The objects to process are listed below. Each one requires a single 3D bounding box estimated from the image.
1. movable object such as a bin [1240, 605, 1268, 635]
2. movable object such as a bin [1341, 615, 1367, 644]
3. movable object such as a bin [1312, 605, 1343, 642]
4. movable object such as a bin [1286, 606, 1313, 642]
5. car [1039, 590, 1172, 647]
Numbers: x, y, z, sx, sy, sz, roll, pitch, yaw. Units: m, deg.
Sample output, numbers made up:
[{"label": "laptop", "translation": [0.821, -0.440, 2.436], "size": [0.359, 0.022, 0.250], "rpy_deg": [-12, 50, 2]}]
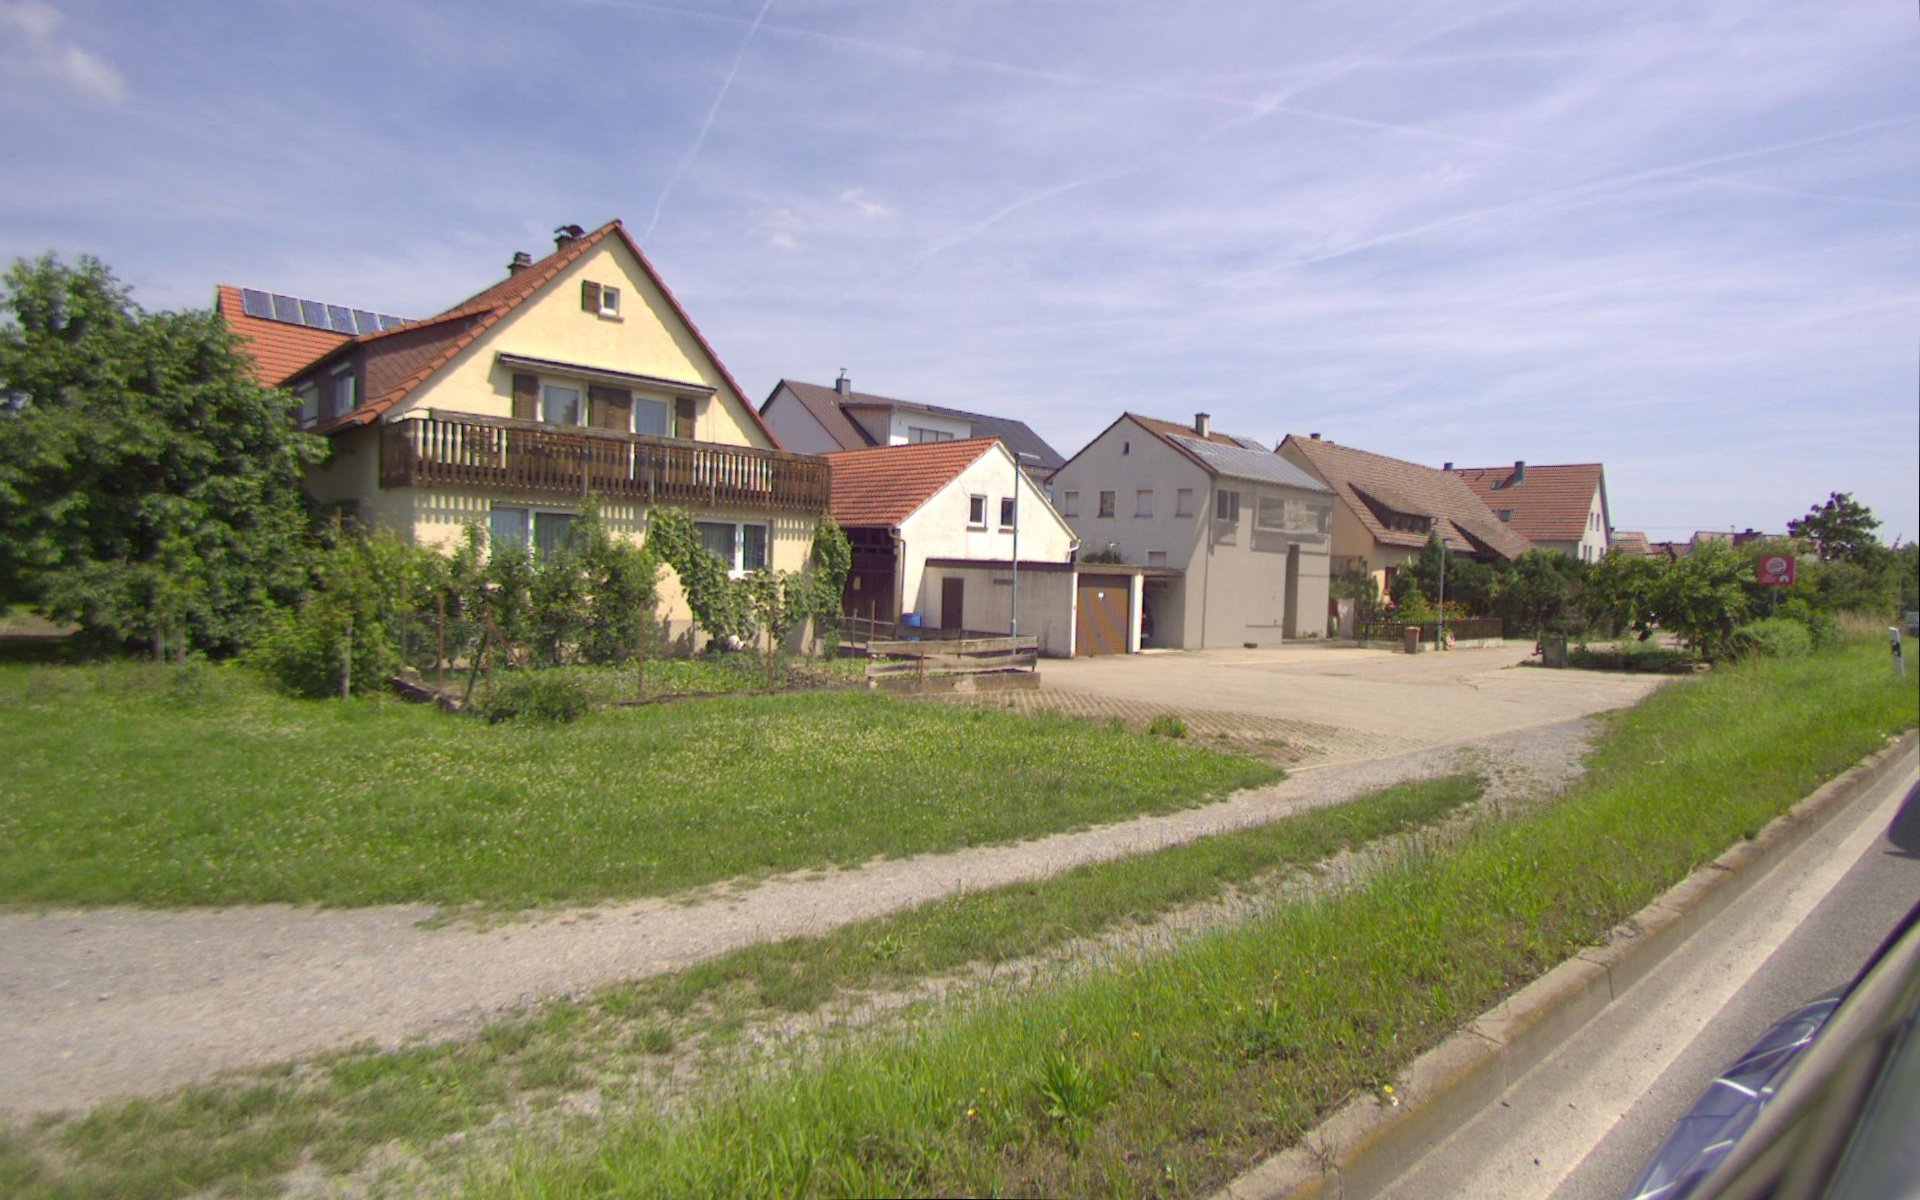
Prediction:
[{"label": "movable object such as a bin", "translation": [11.808, 0.795, 40.655], "size": [0.816, 1.171, 0.739], "rpy_deg": [1, 0, -42]}, {"label": "movable object such as a bin", "translation": [14.612, 1.085, 37.547], "size": [0.743, 1.040, 0.645], "rpy_deg": [1, 0, -42]}, {"label": "movable object such as a bin", "translation": [13.896, 0.872, 38.249], "size": [0.930, 1.387, 0.764], "rpy_deg": [1, 0, -42]}, {"label": "movable object such as a bin", "translation": [13.241, 0.932, 39.462], "size": [0.806, 1.355, 0.677], "rpy_deg": [1, 0, -42]}, {"label": "car", "translation": [4.552, 0.547, 32.134], "size": [1.794, 1.624, 3.995], "rpy_deg": [1, 1, -40]}]
